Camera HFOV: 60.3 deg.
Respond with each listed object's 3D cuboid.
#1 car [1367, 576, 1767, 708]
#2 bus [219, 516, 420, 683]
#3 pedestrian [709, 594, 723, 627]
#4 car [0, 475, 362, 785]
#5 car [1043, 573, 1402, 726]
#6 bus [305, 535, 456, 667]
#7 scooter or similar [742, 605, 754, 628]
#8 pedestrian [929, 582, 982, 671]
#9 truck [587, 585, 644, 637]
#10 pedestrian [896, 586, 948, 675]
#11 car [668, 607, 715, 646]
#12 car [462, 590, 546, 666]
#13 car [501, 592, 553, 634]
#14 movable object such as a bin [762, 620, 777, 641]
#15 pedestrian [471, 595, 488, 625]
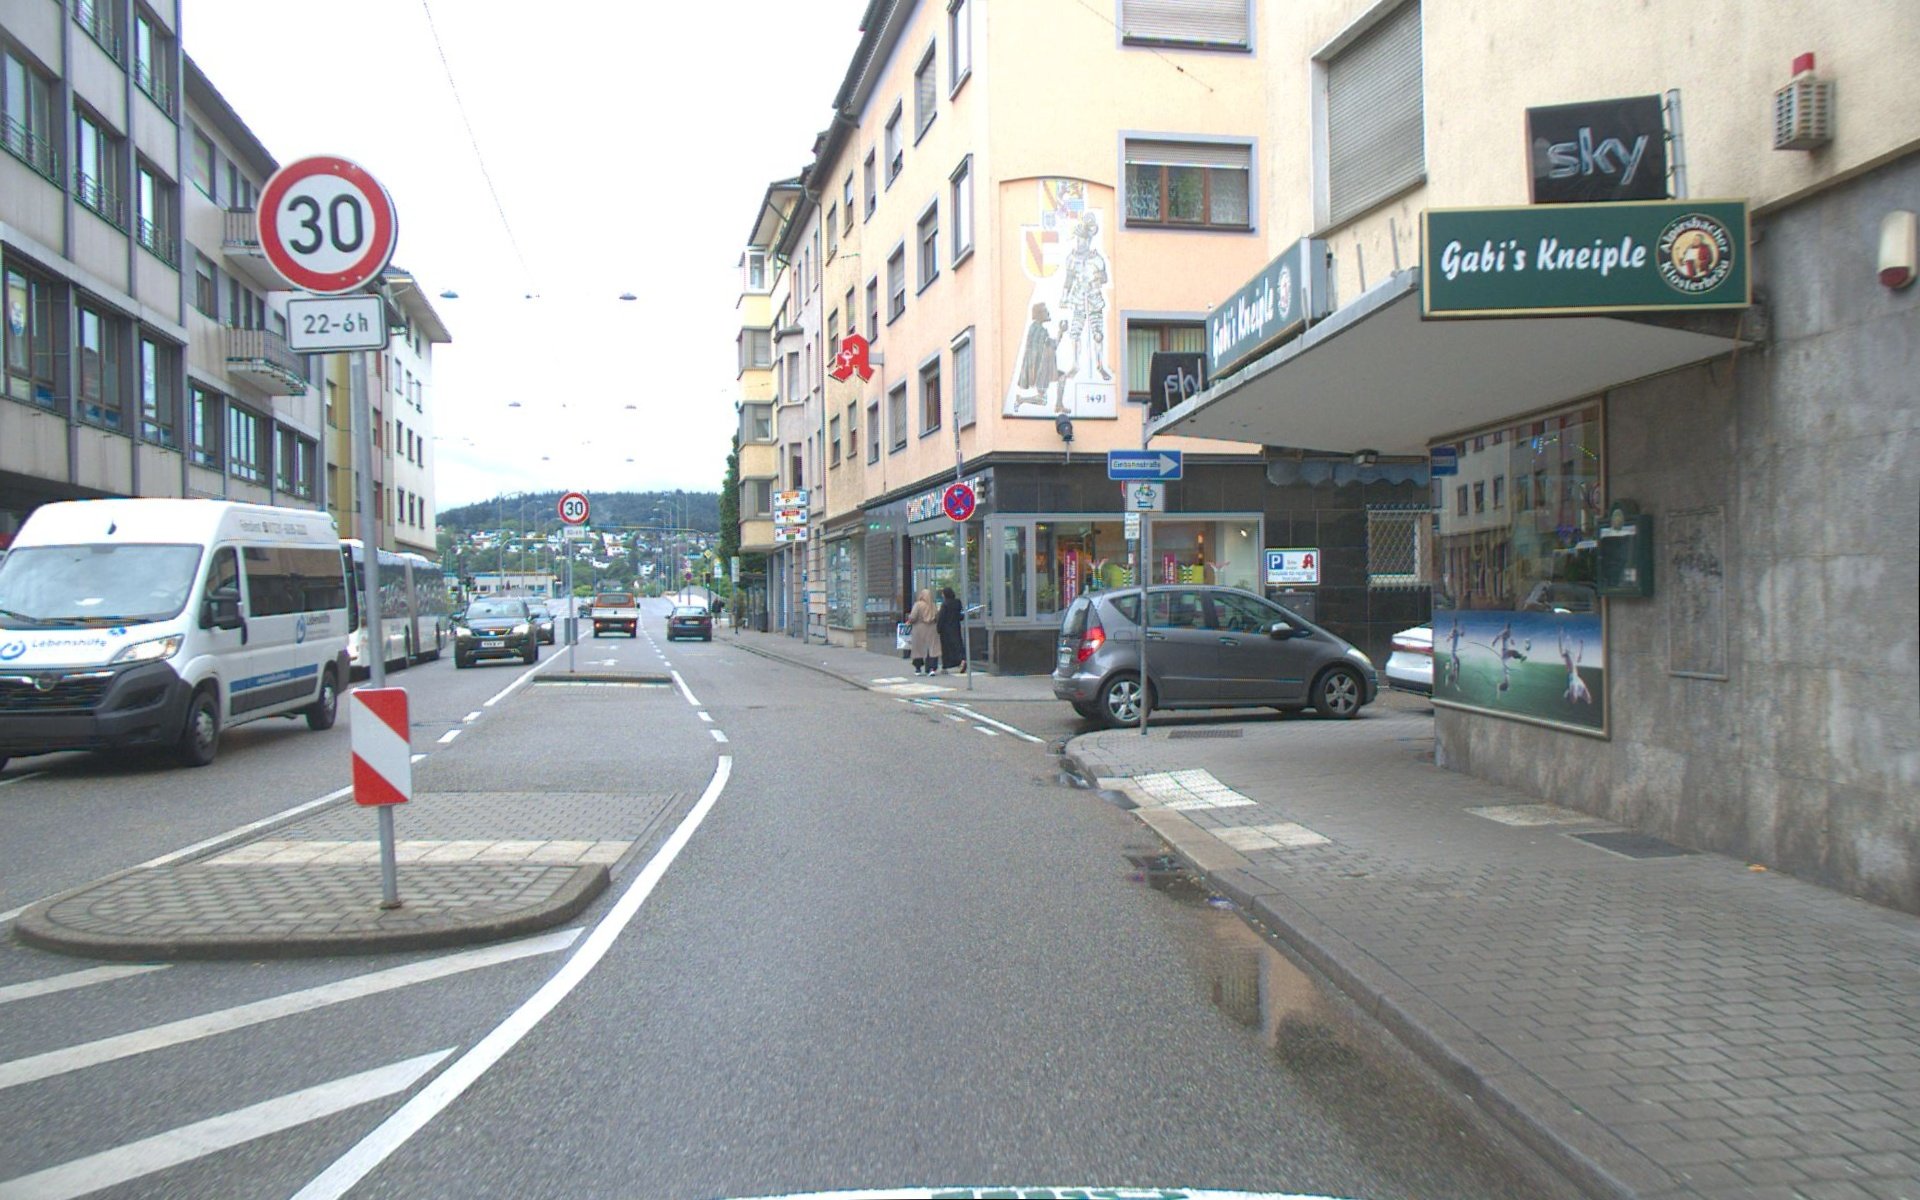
[{"bbox_3d":[7.570,0.502,20.809,4.396,1.467,1.783,-1,0,-9],"label":"car"},{"bbox_3d":[-14.101,0.020,37.143,2.710,3.244,8.885,-1,0,-12],"label":"bus"},{"bbox_3d":[-14.082,0.626,95.553,0.720,1.873,0.629,-1,-1,-13],"label":"pedestrian"},{"bbox_3d":[-7.821,0.273,16.512,2.046,2.478,6.343,-1,0,-7],"label":"car"},{"bbox_3d":[3.025,0.553,19.522,3.755,1.601,1.932,-1,0,-9],"label":"car"},{"bbox_3d":[-15.906,0.060,46.044,2.677,3.244,9.265,-1,0,-12],"label":"bus"},{"bbox_3d":[-11.291,0.891,87.904,0.502,1.193,1.544,-1,0,-11],"label":"scooter or similar"},{"bbox_3d":[-0.087,0.488,30.357,0.755,1.587,0.873,-1,-1,-13],"label":"pedestrian"},{"bbox_3d":[-15.231,0.503,73.165,2.358,2.167,5.299,-1,0,-12],"label":"truck"},{"bbox_3d":[-0.695,0.550,30.059,0.765,1.587,0.780,-1,-1,-13],"label":"pedestrian"},{"bbox_3d":[-10.835,1.060,66.602,1.723,1.505,3.988,-1,0,-11],"label":"car"},{"bbox_3d":[-11.089,0.627,40.446,1.713,1.691,4.403,-1,1,-13],"label":"car"},{"bbox_3d":[-16.017,0.492,61.283,1.679,1.476,4.072,-1,0,-13],"label":"car"},{"bbox_3d":[-8.701,1.371,75.391,0.589,0.942,0.702,-1,-1,-12],"label":"movable object such as a bin"},{"bbox_3d":[-32.906,0.697,113.240,0.964,2.049,1.171,-1,-1,-9],"label":"pedestrian"}]
